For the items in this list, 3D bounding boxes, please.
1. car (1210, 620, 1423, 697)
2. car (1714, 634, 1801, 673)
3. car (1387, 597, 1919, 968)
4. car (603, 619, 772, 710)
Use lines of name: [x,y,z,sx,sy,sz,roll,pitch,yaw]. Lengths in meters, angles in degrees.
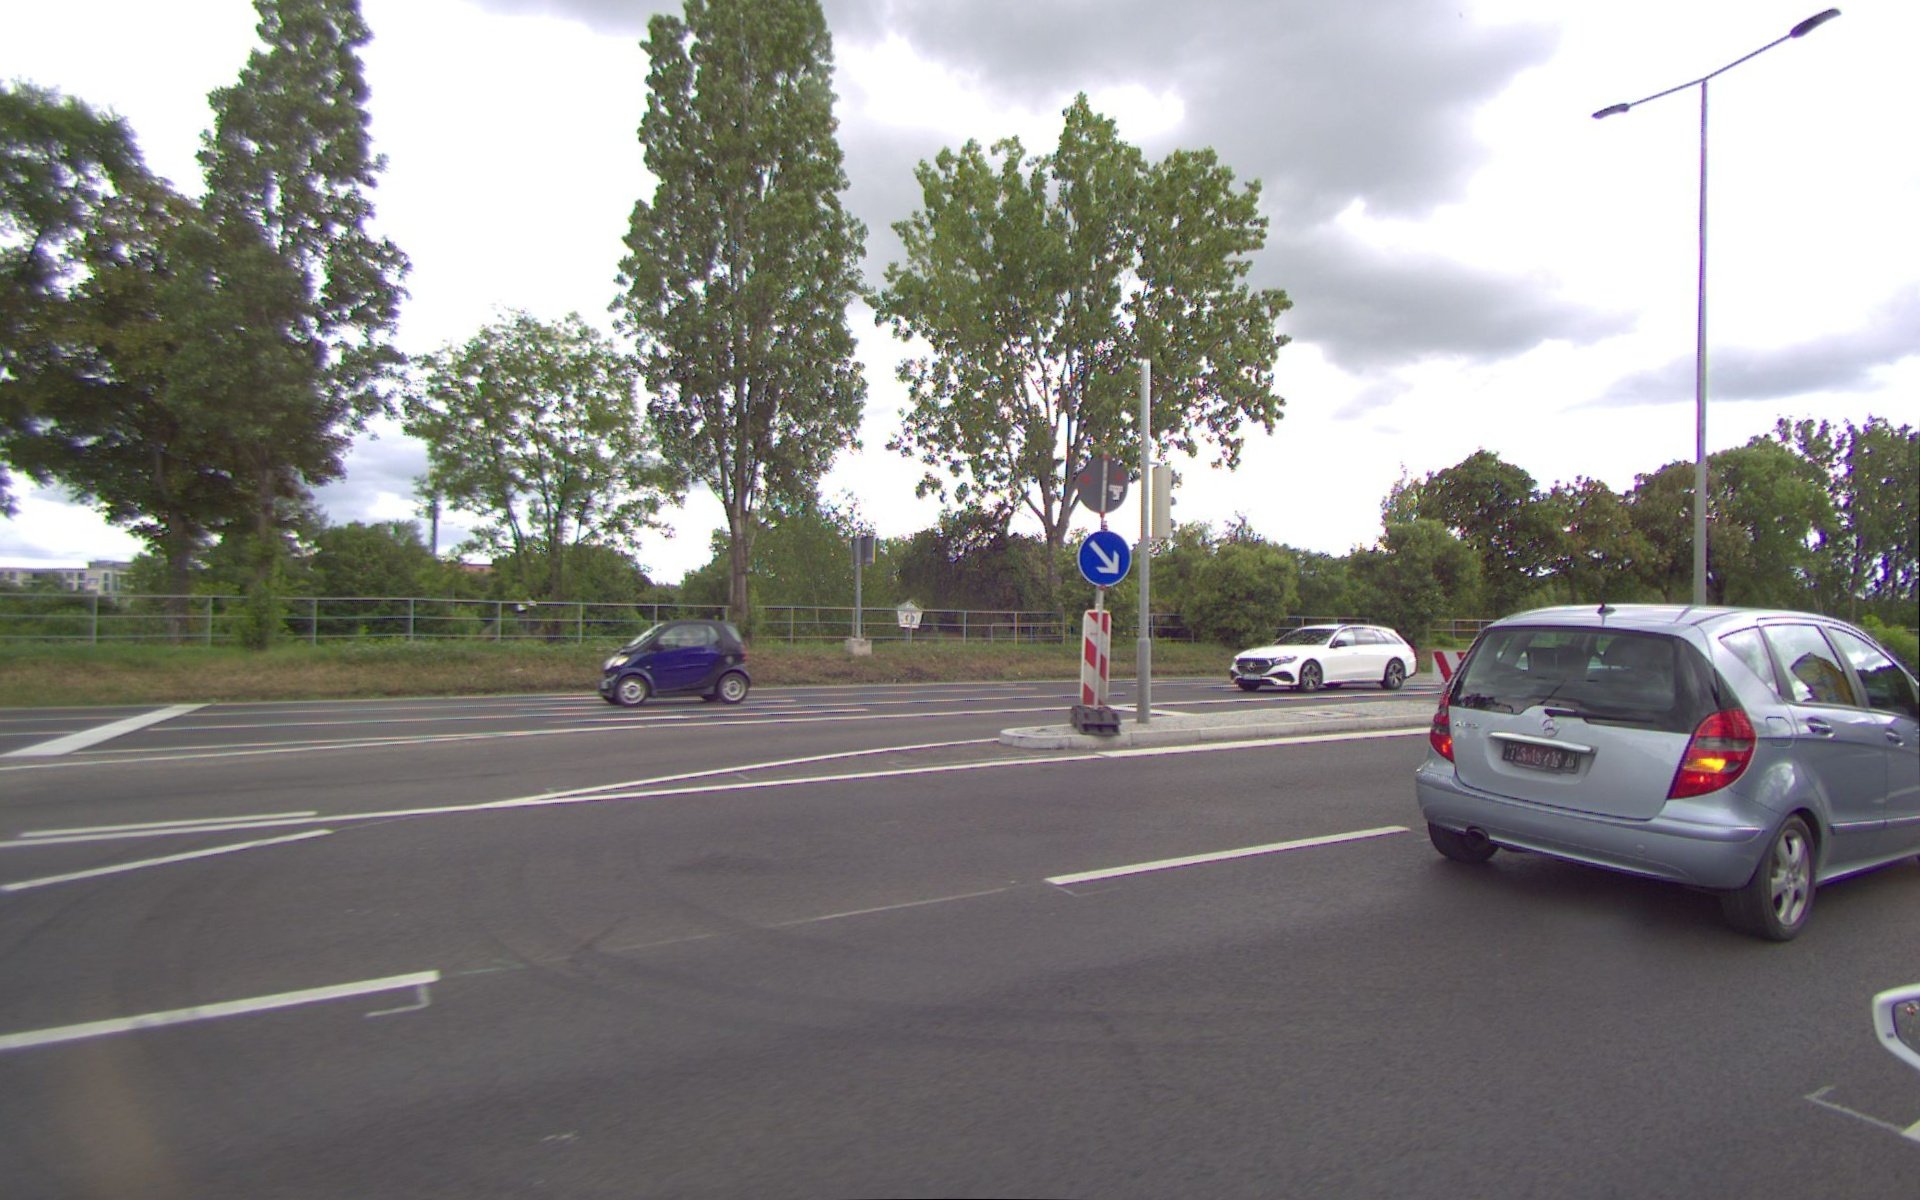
car: [8.141,1.246,22.838,4.749,1.513,1.983,1,1,-31]
car: [38.202,2.524,48.099,3.953,1.662,1.983,1,1,-31]
car: [4.591,0.800,6.071,3.954,1.550,1.701,1,1,-31]
car: [-4.989,1.124,18.416,2.705,1.482,1.465,1,1,-31]
